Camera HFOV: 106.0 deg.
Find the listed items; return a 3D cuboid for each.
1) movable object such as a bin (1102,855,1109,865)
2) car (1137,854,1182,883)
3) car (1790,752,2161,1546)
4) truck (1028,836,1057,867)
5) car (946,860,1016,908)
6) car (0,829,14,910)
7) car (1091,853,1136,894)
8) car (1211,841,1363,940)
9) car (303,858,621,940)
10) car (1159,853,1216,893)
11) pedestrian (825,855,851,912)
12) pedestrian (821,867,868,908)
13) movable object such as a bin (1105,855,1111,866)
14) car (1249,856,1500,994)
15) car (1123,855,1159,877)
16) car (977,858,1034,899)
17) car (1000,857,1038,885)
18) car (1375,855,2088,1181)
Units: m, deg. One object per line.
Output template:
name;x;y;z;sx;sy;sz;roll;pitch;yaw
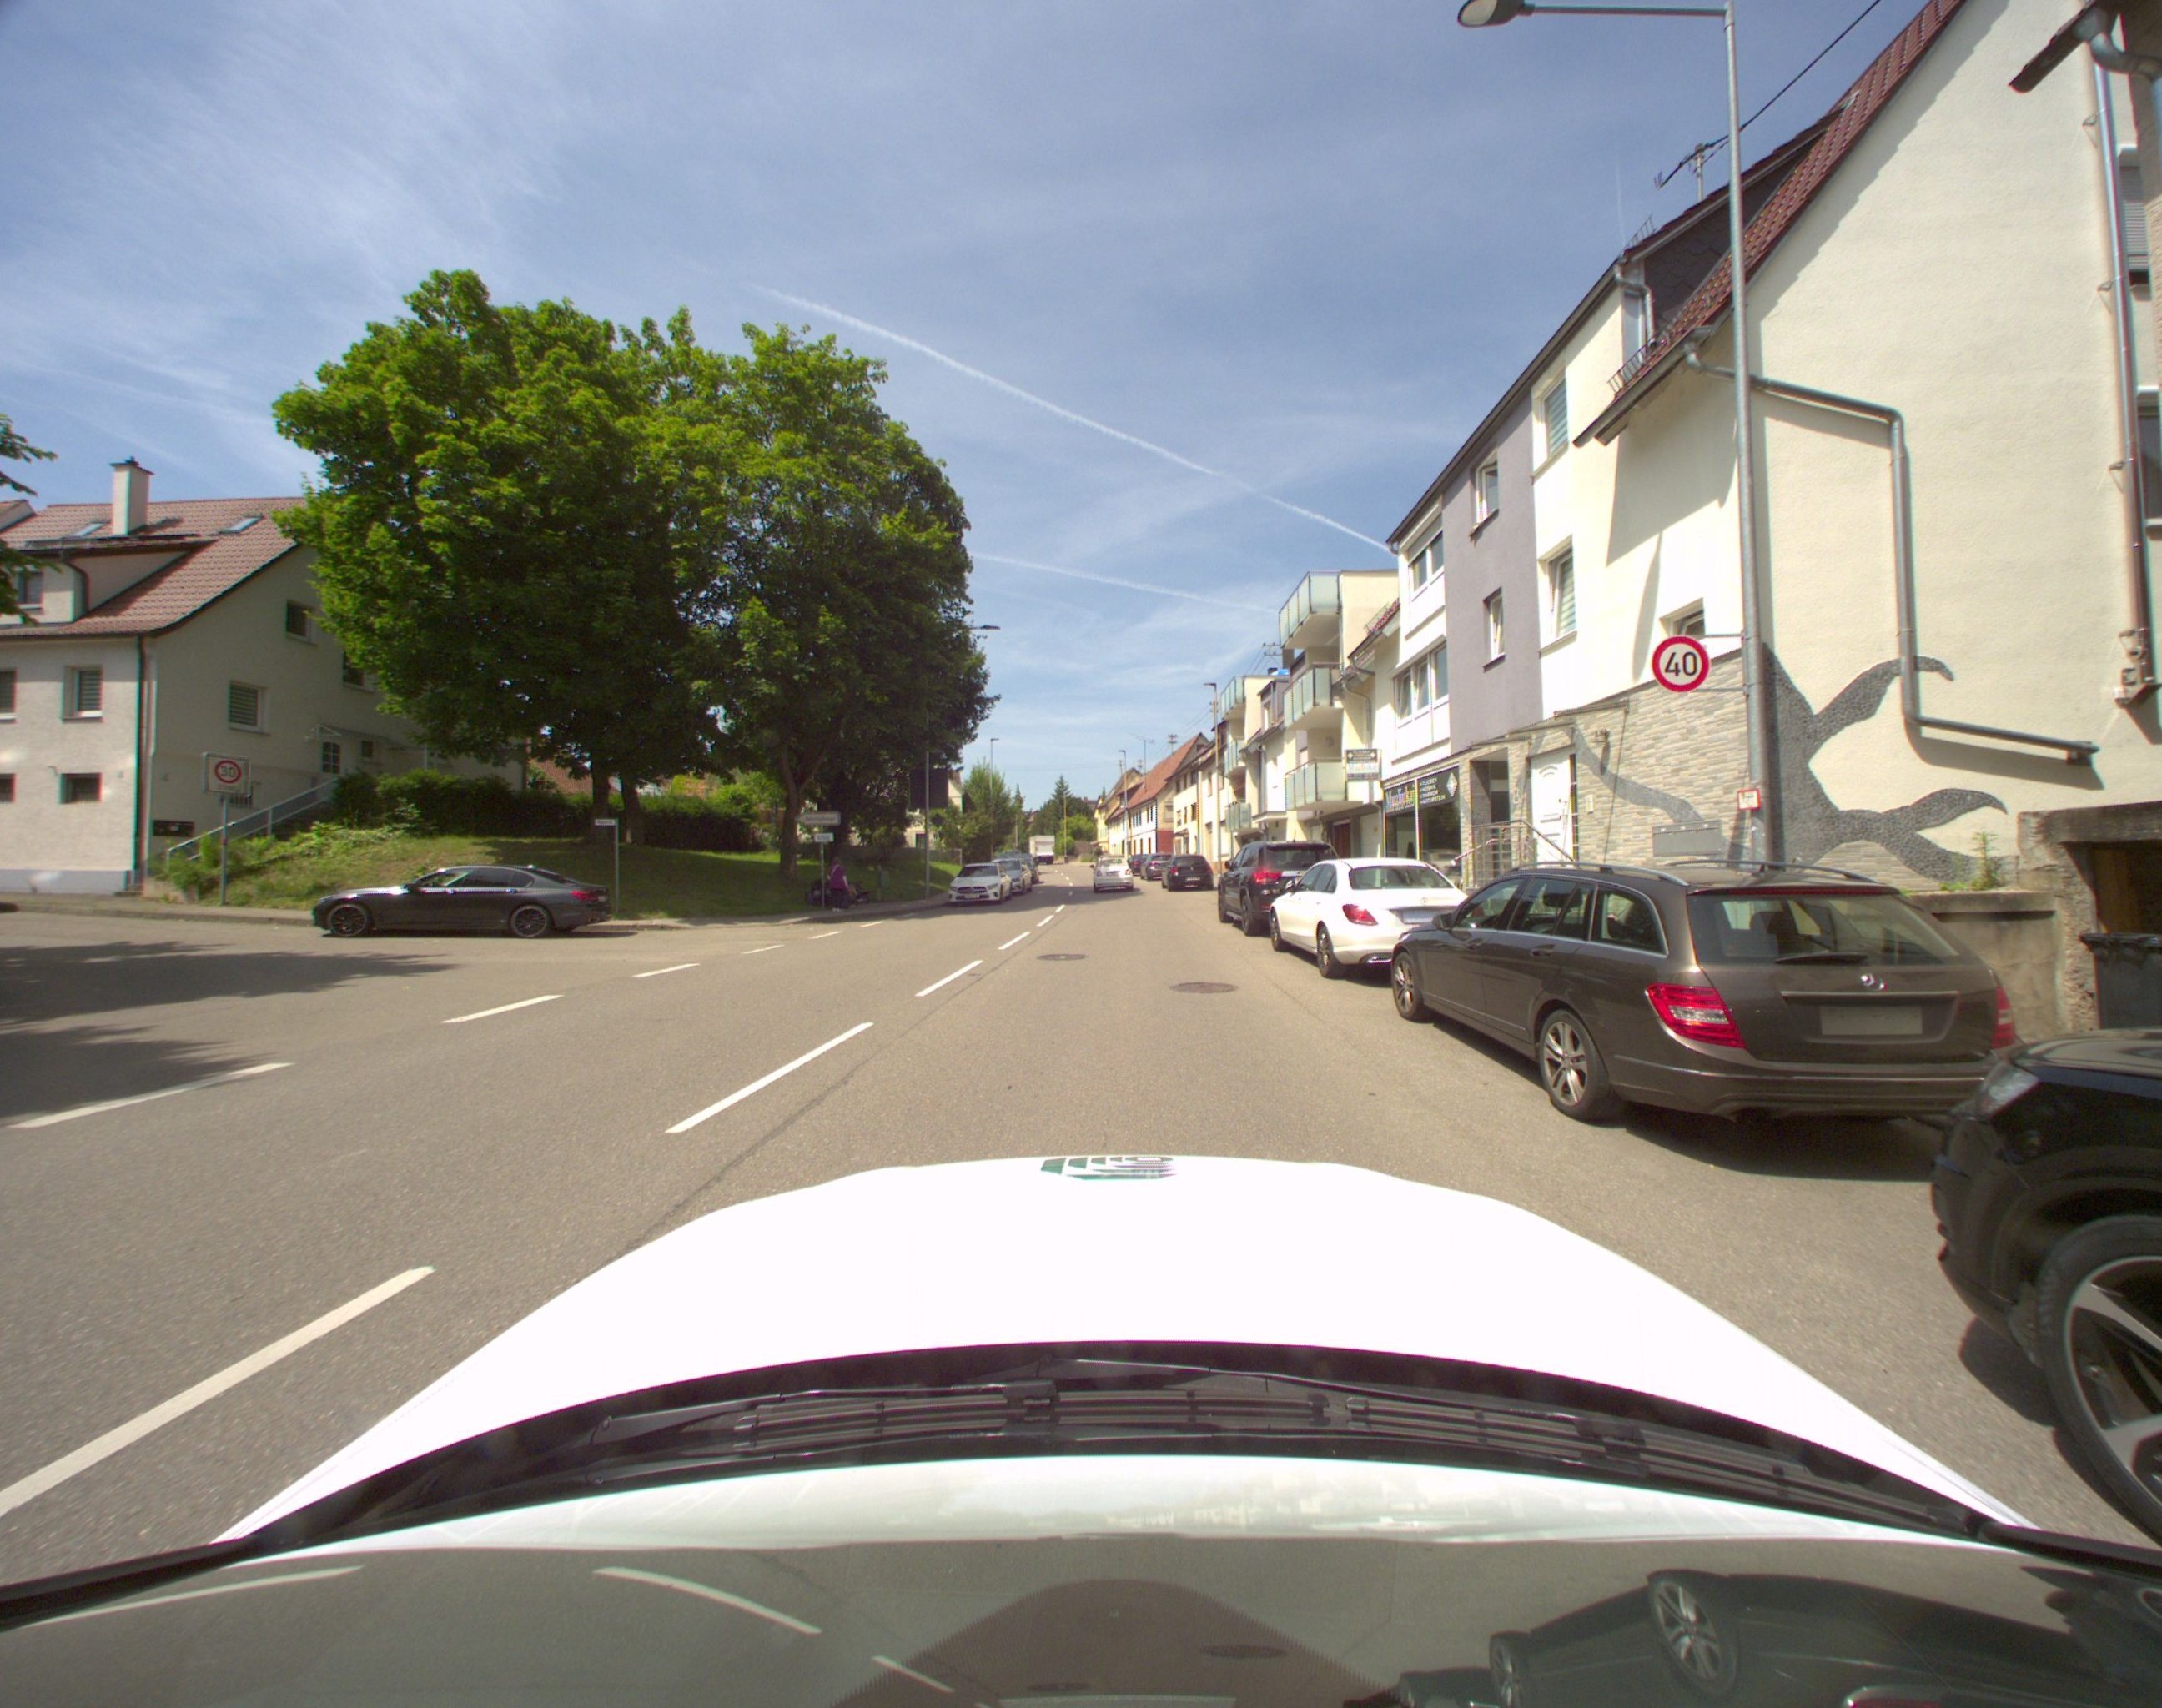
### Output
movable object such as a bin;2.582;0.658;86.078;0.546;1.033;0.550;-4;0;-7
car;4.166;0.721;43.771;1.789;1.403;4.408;-2;0;-2
car;3.115;0.605;0.297;1.836;1.670;4.659;0;-1;3
truck;-5.062;-0.257;105.098;3.066;3.774;7.846;-2;-1;-7
car;-3.472;1.001;28.982;1.748;1.467;4.364;-3;0;2
car;-24.588;0.228;16.379;3.967;1.684;1.912;3;0;5
car;1.373;0.781;34.269;1.718;1.560;4.002;-3;0;2
car;3.968;0.634;16.571;1.947;1.716;4.716;-1;0;0
car;-12.555;0.930;16.954;4.785;1.479;1.989;3;-1;-17
car;4.213;0.733;32.804;1.790;1.424;4.291;-2;-1;1
pedestrian;-7.074;0.847;23.707;0.732;1.616;0.625;0;-1;-18
pedestrian;-7.374;1.034;25.462;1.230;1.269;0.647;0;-1;6
movable object such as a bin;2.783;0.661;84.287;0.546;1.033;0.550;-4;0;-7
car;3.691;0.773;11.235;1.783;1.455;4.716;-1;0;0
car;3.835;0.741;52.405;1.663;1.352;4.179;-1;0;-5
car;-3.177;0.991;34.989;1.765;1.527;4.225;-3;0;3
car;-3.505;0.959;46.811;1.799;1.423;4.926;-2;0;-1
car;3.663;0.734;5.801;1.781;1.420;4.362;0;0;3
